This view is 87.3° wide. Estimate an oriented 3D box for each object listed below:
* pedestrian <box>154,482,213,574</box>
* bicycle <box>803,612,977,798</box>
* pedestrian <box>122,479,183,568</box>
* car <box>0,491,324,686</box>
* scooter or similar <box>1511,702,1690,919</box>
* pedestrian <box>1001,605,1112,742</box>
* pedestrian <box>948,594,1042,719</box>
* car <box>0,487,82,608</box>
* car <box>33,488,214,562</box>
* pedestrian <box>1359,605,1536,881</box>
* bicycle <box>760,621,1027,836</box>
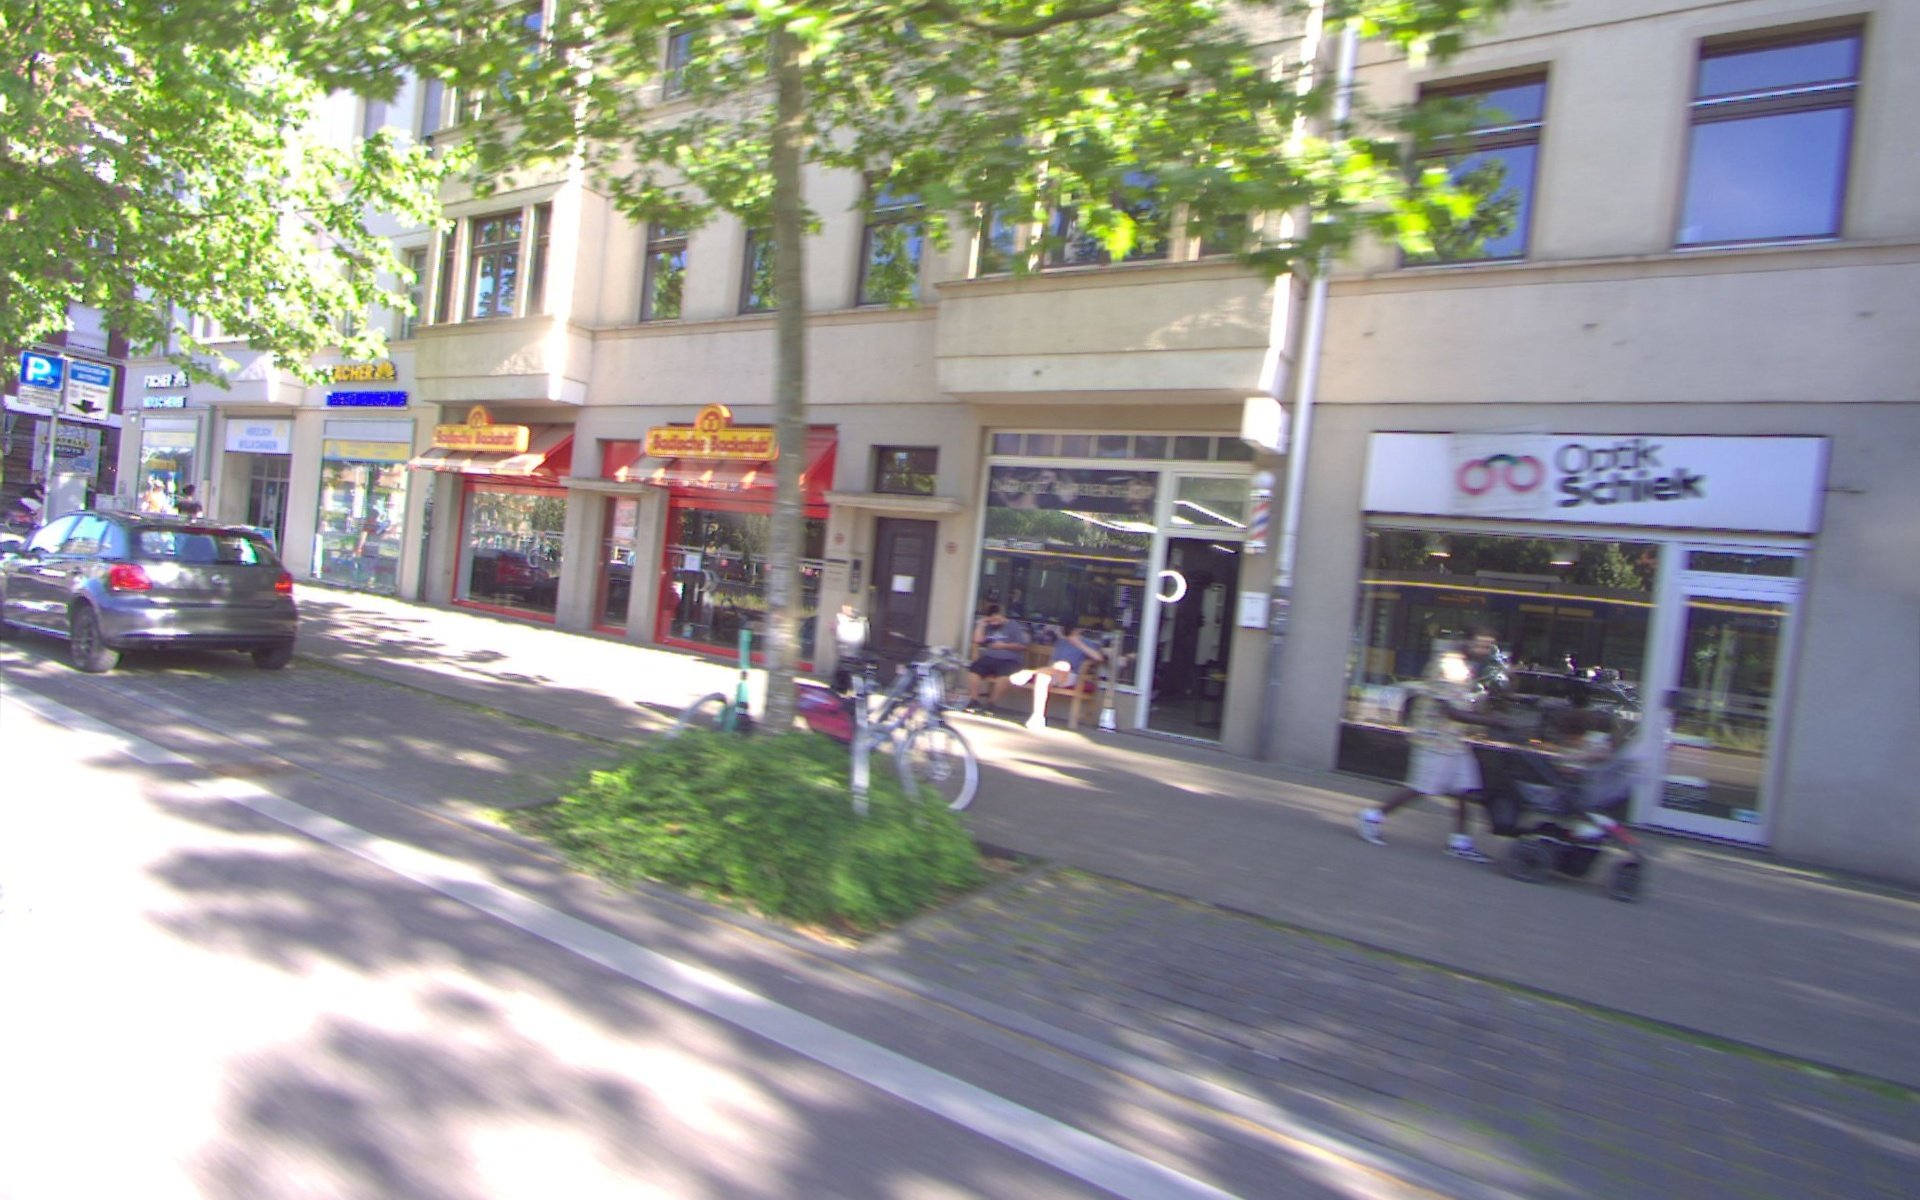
[{"bbox_3d":[-15.582,-1.446,20.188,0.757,1.732,0.558,7,1,32],"label":"pedestrian"},{"bbox_3d":[-0.625,0.791,8.146,0.383,1.222,1.856,6,0,-35],"label":"bicycle"},{"bbox_3d":[-18.507,-1.749,23.049,0.849,1.924,0.714,7,1,32],"label":"pedestrian"},{"bbox_3d":[-8.375,-0.185,10.246,3.738,1.522,1.695,7,2,32],"label":"car"},{"bbox_3d":[4.231,1.352,6.720,0.834,1.187,0.745,7,2,29],"label":"scooter or similar"},{"bbox_3d":[1.081,0.808,11.248,0.843,1.386,0.785,7,1,32],"label":"pedestrian"},{"bbox_3d":[0.410,0.648,11.792,0.807,1.349,0.535,7,1,32],"label":"pedestrian"},{"bbox_3d":[-14.630,-0.951,14.215,4.517,1.527,2.041,7,0,32],"label":"car"},{"bbox_3d":[-28.696,-2.529,34.650,1.962,1.809,4.306,6,-1,31],"label":"car"},{"bbox_3d":[3.455,0.939,7.125,0.901,1.728,0.859,7,4,29],"label":"pedestrian"},{"bbox_3d":[-0.507,0.850,7.117,1.870,1.230,0.392,5,1,28],"label":"bicycle"}]
